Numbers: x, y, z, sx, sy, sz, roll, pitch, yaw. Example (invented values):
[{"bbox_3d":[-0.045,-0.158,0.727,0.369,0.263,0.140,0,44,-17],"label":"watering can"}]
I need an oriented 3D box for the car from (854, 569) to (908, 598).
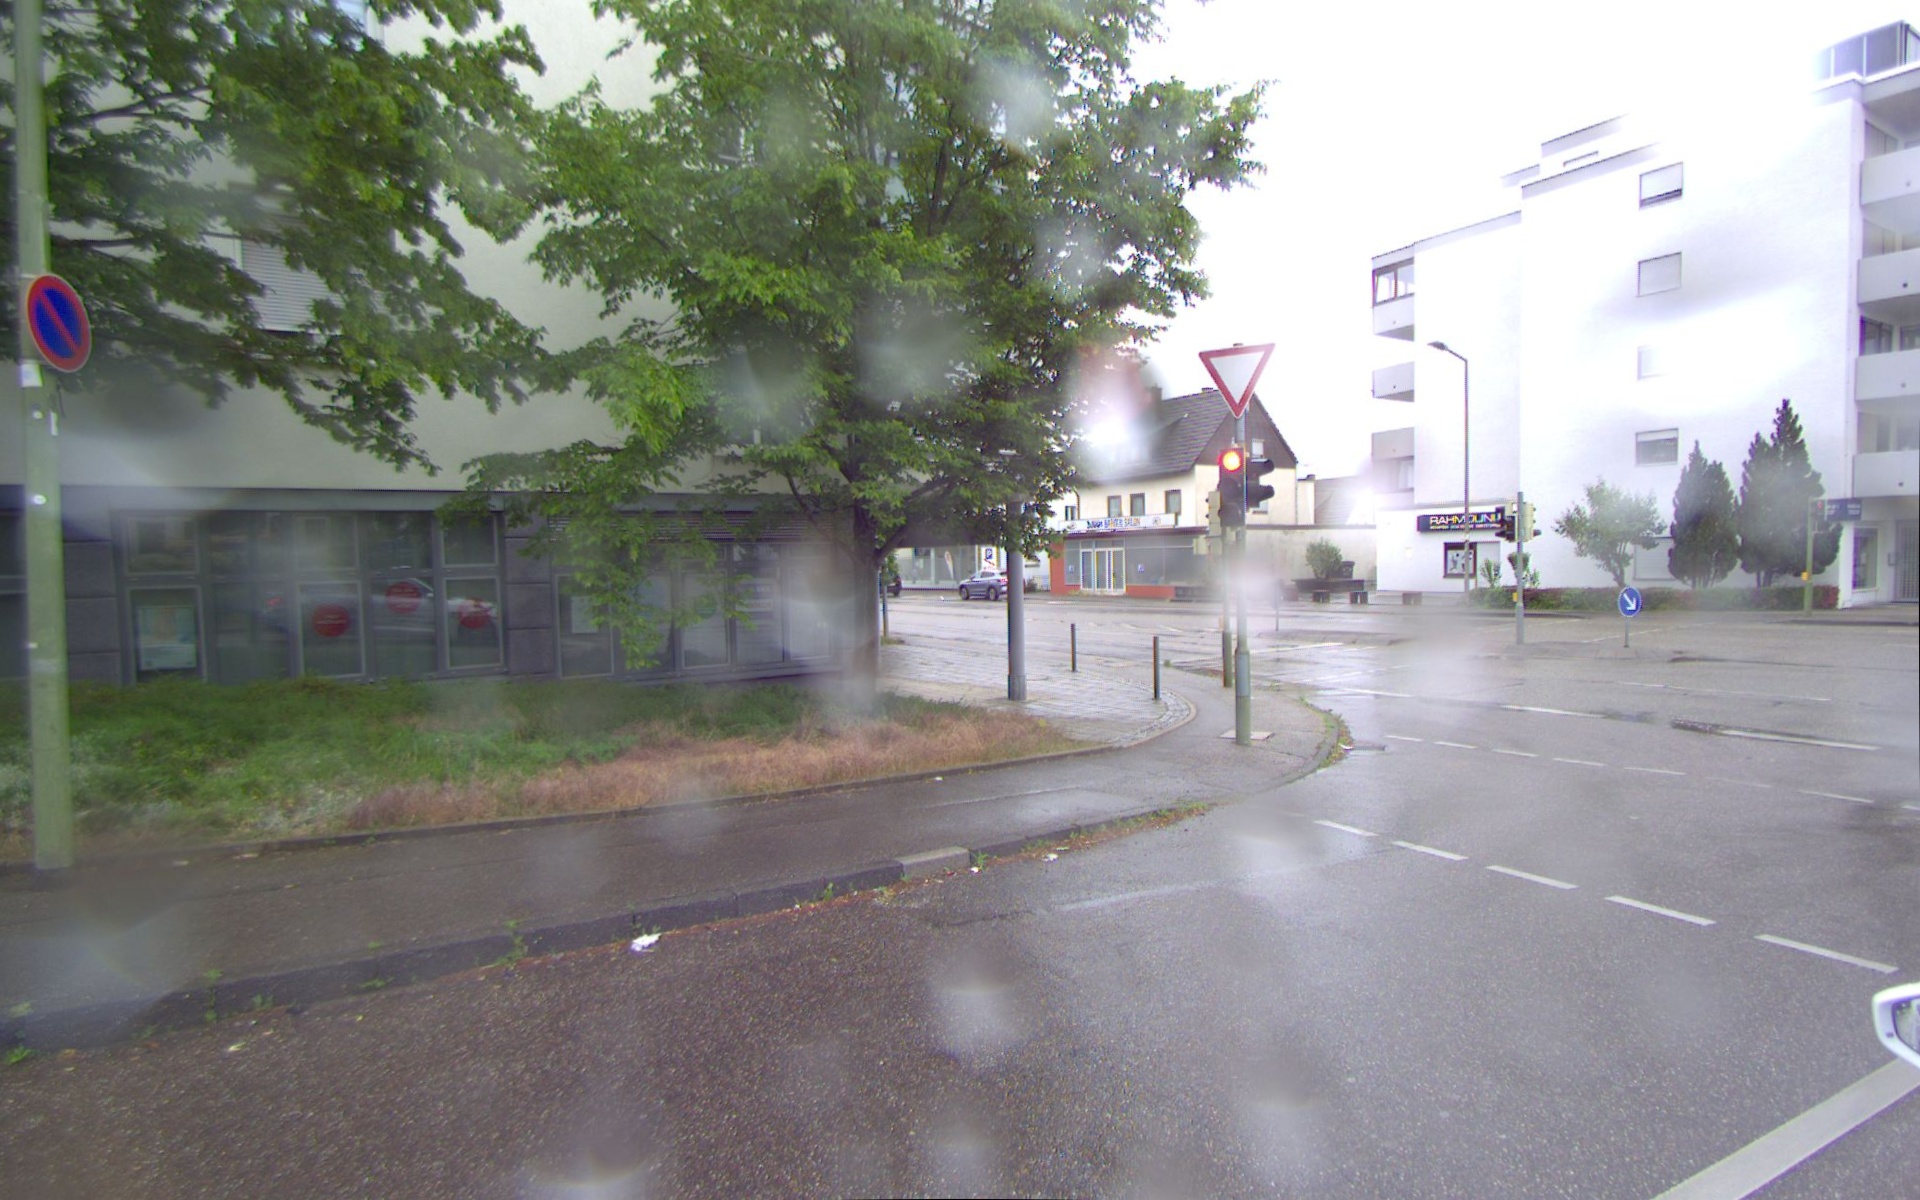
[{"bbox_3d":[-5.247,-1.145,66.542,2.087,1.719,3.968,-1,4,-30],"label":"car"}]

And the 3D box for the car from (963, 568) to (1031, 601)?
[{"bbox_3d":[2.022,-0.897,55.912,1.976,1.718,3.968,-1,3,-30],"label":"car"}]
